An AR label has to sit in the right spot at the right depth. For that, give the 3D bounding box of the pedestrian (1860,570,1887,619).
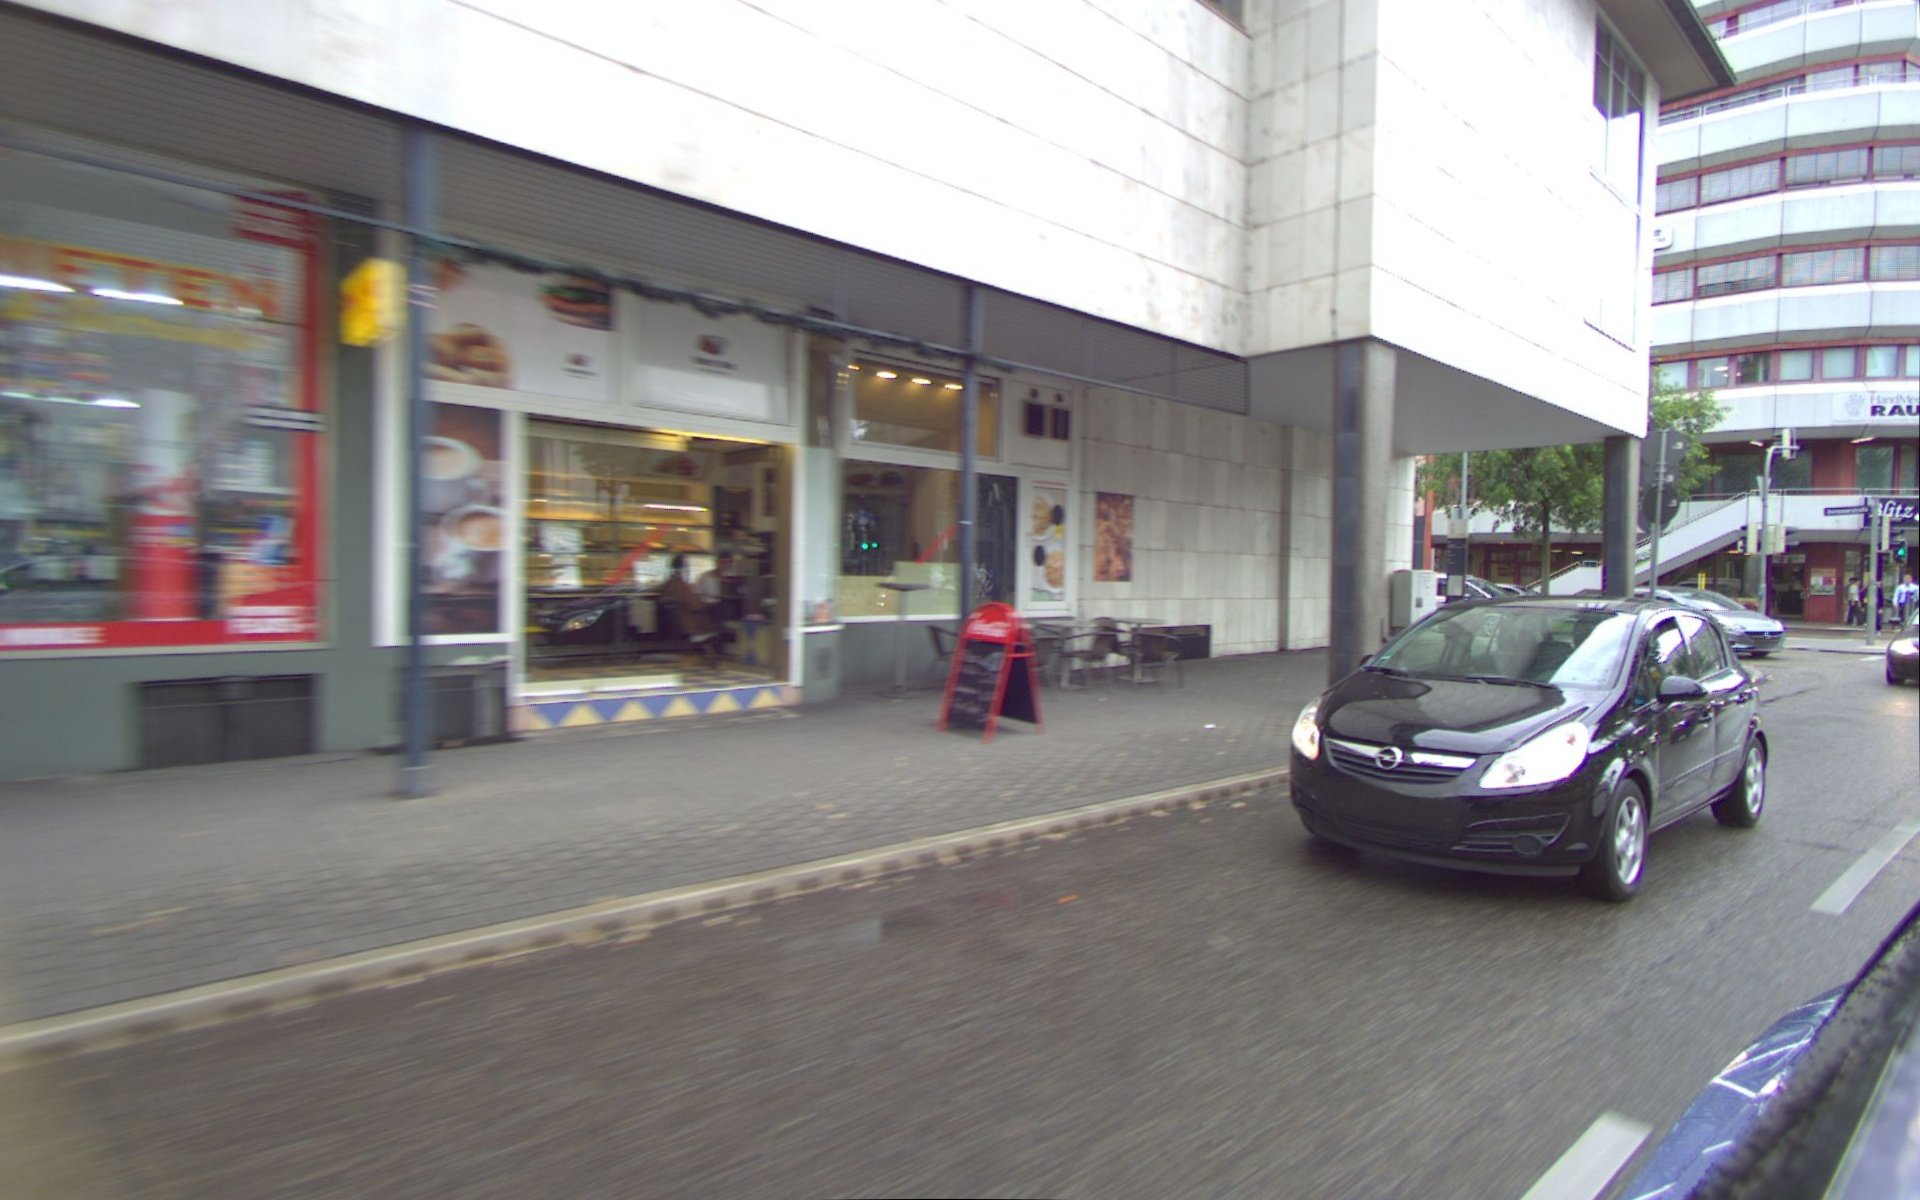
[{"bbox_3d":[33.457,-0.209,37.083,0.483,1.784,0.598,-2,2,-29],"label":"pedestrian"}]

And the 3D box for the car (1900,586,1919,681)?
[{"bbox_3d":[16.570,0.530,16.303,3.562,1.459,1.596,0,1,-39],"label":"car"}]

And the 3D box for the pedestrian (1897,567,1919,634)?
[{"bbox_3d":[27.633,0.006,29.163,0.830,1.869,0.625,-2,2,-23],"label":"pedestrian"}]

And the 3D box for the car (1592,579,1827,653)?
[{"bbox_3d":[16.805,0.285,22.973,1.959,1.495,4.008,-1,1,-11],"label":"car"}]

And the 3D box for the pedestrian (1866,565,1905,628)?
[{"bbox_3d":[27.194,-0.121,29.737,0.663,1.795,0.625,-2,2,-23],"label":"pedestrian"}]

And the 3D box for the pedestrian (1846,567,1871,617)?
[{"bbox_3d":[32.980,-0.297,37.149,0.521,1.784,0.509,-1,2,18],"label":"pedestrian"}]

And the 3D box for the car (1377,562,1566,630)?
[{"bbox_3d":[14.924,-0.205,29.774,1.823,1.781,4.607,-2,3,-38],"label":"car"}]

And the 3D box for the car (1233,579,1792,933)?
[{"bbox_3d":[3.450,0.628,6.061,3.676,1.475,1.711,-1,1,-40],"label":"car"}]

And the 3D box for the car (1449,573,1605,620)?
[{"bbox_3d":[19.120,-0.161,34.262,1.757,1.437,4.266,-1,2,-42],"label":"car"}]
